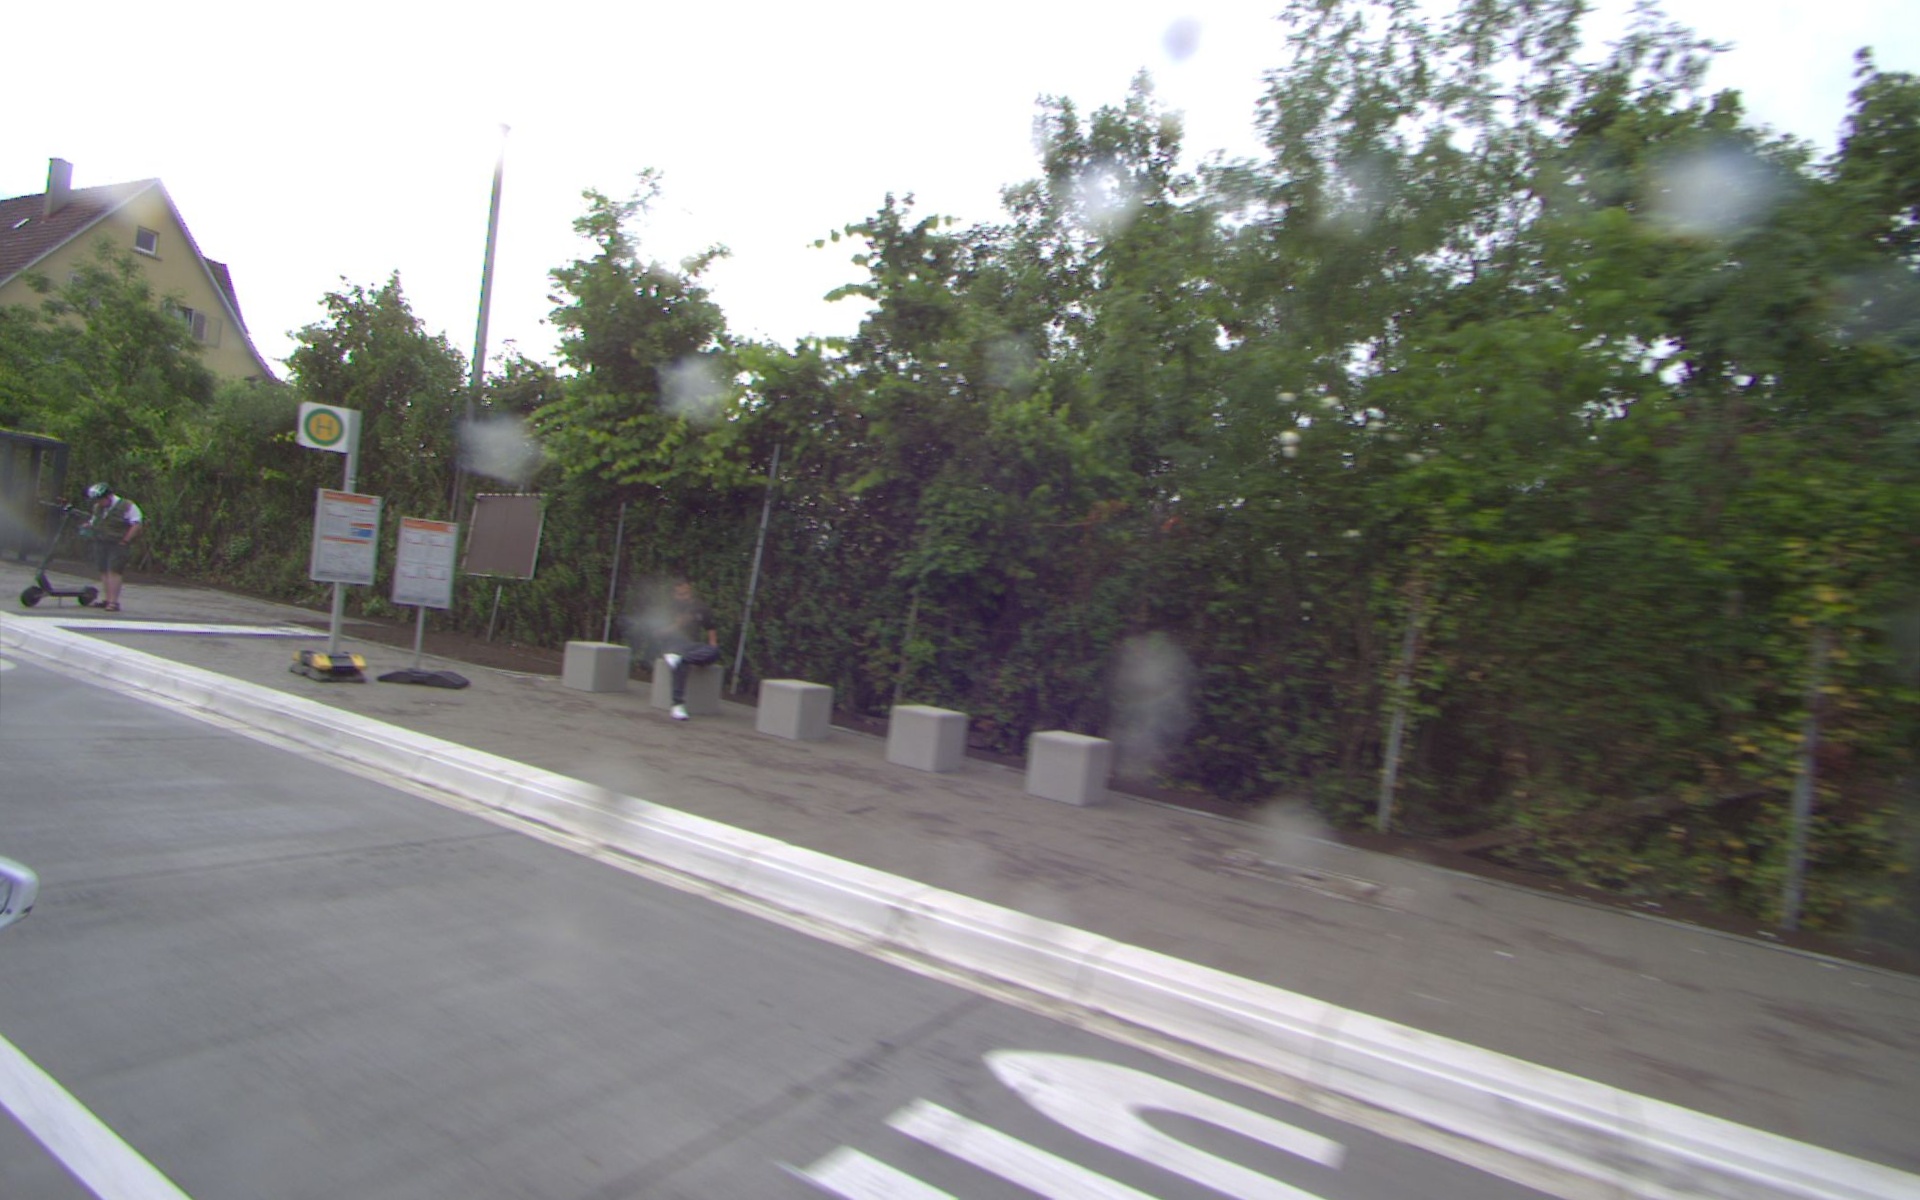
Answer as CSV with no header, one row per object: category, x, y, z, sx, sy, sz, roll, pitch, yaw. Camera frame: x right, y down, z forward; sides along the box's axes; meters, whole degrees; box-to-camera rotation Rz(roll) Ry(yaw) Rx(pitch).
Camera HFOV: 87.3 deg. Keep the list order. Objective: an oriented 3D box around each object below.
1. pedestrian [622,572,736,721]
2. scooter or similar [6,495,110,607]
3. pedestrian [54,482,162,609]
pedestrian,-2.808,0.456,10.165,0.796,1.346,1.067,7,0,-6
scooter or similar,-11.448,-0.589,12.798,0.228,1.331,1.241,7,-1,-9
pedestrian,-11.251,-0.694,13.312,0.535,1.565,0.920,7,0,-6
